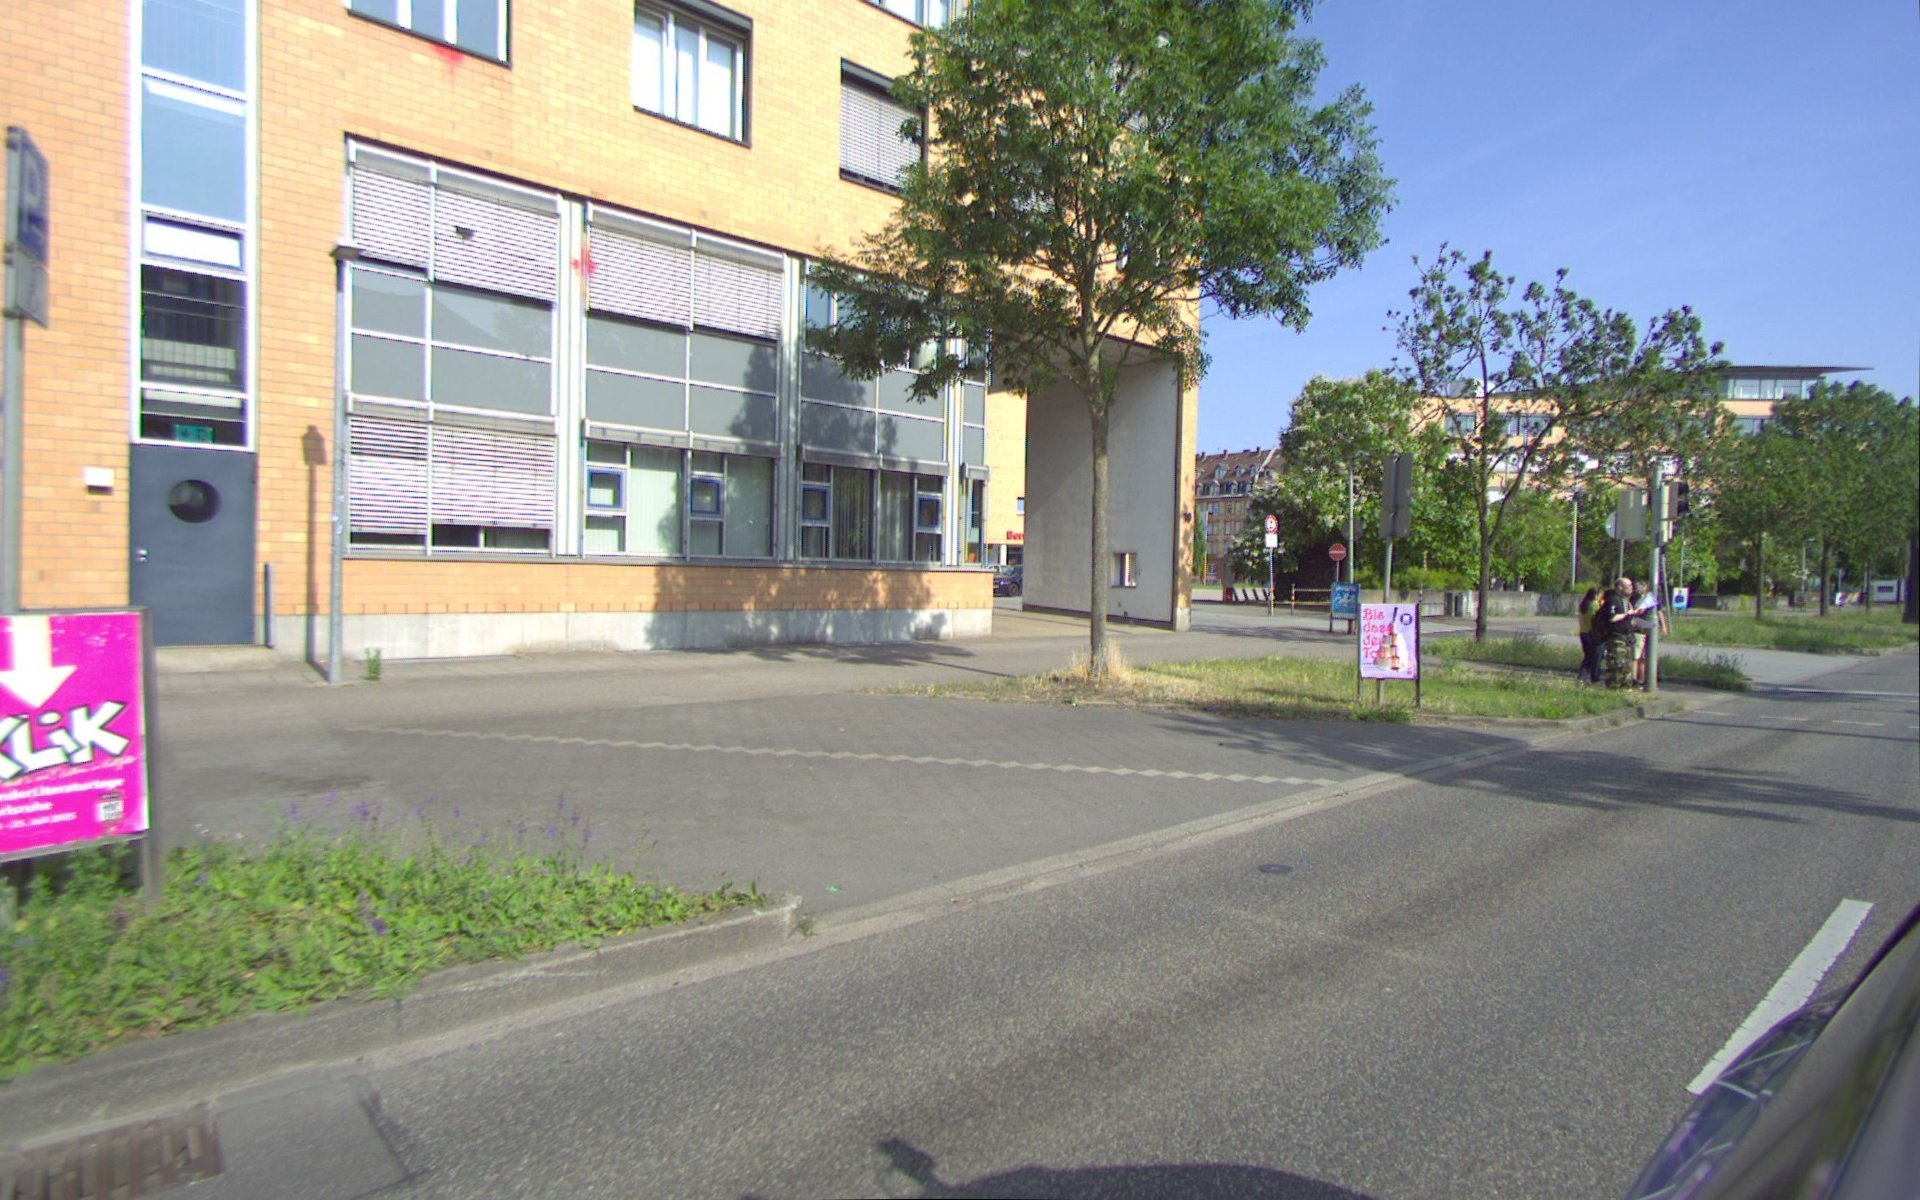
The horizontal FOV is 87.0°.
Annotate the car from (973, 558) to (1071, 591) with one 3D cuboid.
[{"bbox_3d":[2.852,-1.160,46.029,4.623,1.417,1.597,-1,0,-41],"label":"car"}]

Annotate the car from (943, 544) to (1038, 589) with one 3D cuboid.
[{"bbox_3d":[1.486,-1.578,48.851,4.382,2.039,1.997,-1,0,-41],"label":"car"}]

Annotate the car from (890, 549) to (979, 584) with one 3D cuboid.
[{"bbox_3d":[-1.233,-1.659,50.976,4.343,1.661,1.770,-1,0,-41],"label":"car"}]

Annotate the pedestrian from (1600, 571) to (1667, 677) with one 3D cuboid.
[{"bbox_3d":[11.051,0.373,16.619,0.677,1.666,0.706,-1,3,-43],"label":"pedestrian"}]

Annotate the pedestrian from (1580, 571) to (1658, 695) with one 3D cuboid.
[{"bbox_3d":[9.268,0.441,14.239,0.677,1.666,0.706,-1,3,-43],"label":"pedestrian"}]

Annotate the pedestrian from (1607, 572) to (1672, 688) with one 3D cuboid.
[{"bbox_3d":[10.139,0.423,15.105,0.599,1.666,0.635,-1,3,-44],"label":"pedestrian"}]

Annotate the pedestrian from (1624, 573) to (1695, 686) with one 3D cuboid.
[{"bbox_3d":[10.815,0.428,15.657,0.677,1.666,0.706,-1,3,-43],"label":"pedestrian"}]

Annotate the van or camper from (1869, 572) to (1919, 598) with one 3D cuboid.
[{"bbox_3d":[98.905,-1.583,105.609,2.368,2.727,5.790,-1,1,-43],"label":"van or camper"}]
